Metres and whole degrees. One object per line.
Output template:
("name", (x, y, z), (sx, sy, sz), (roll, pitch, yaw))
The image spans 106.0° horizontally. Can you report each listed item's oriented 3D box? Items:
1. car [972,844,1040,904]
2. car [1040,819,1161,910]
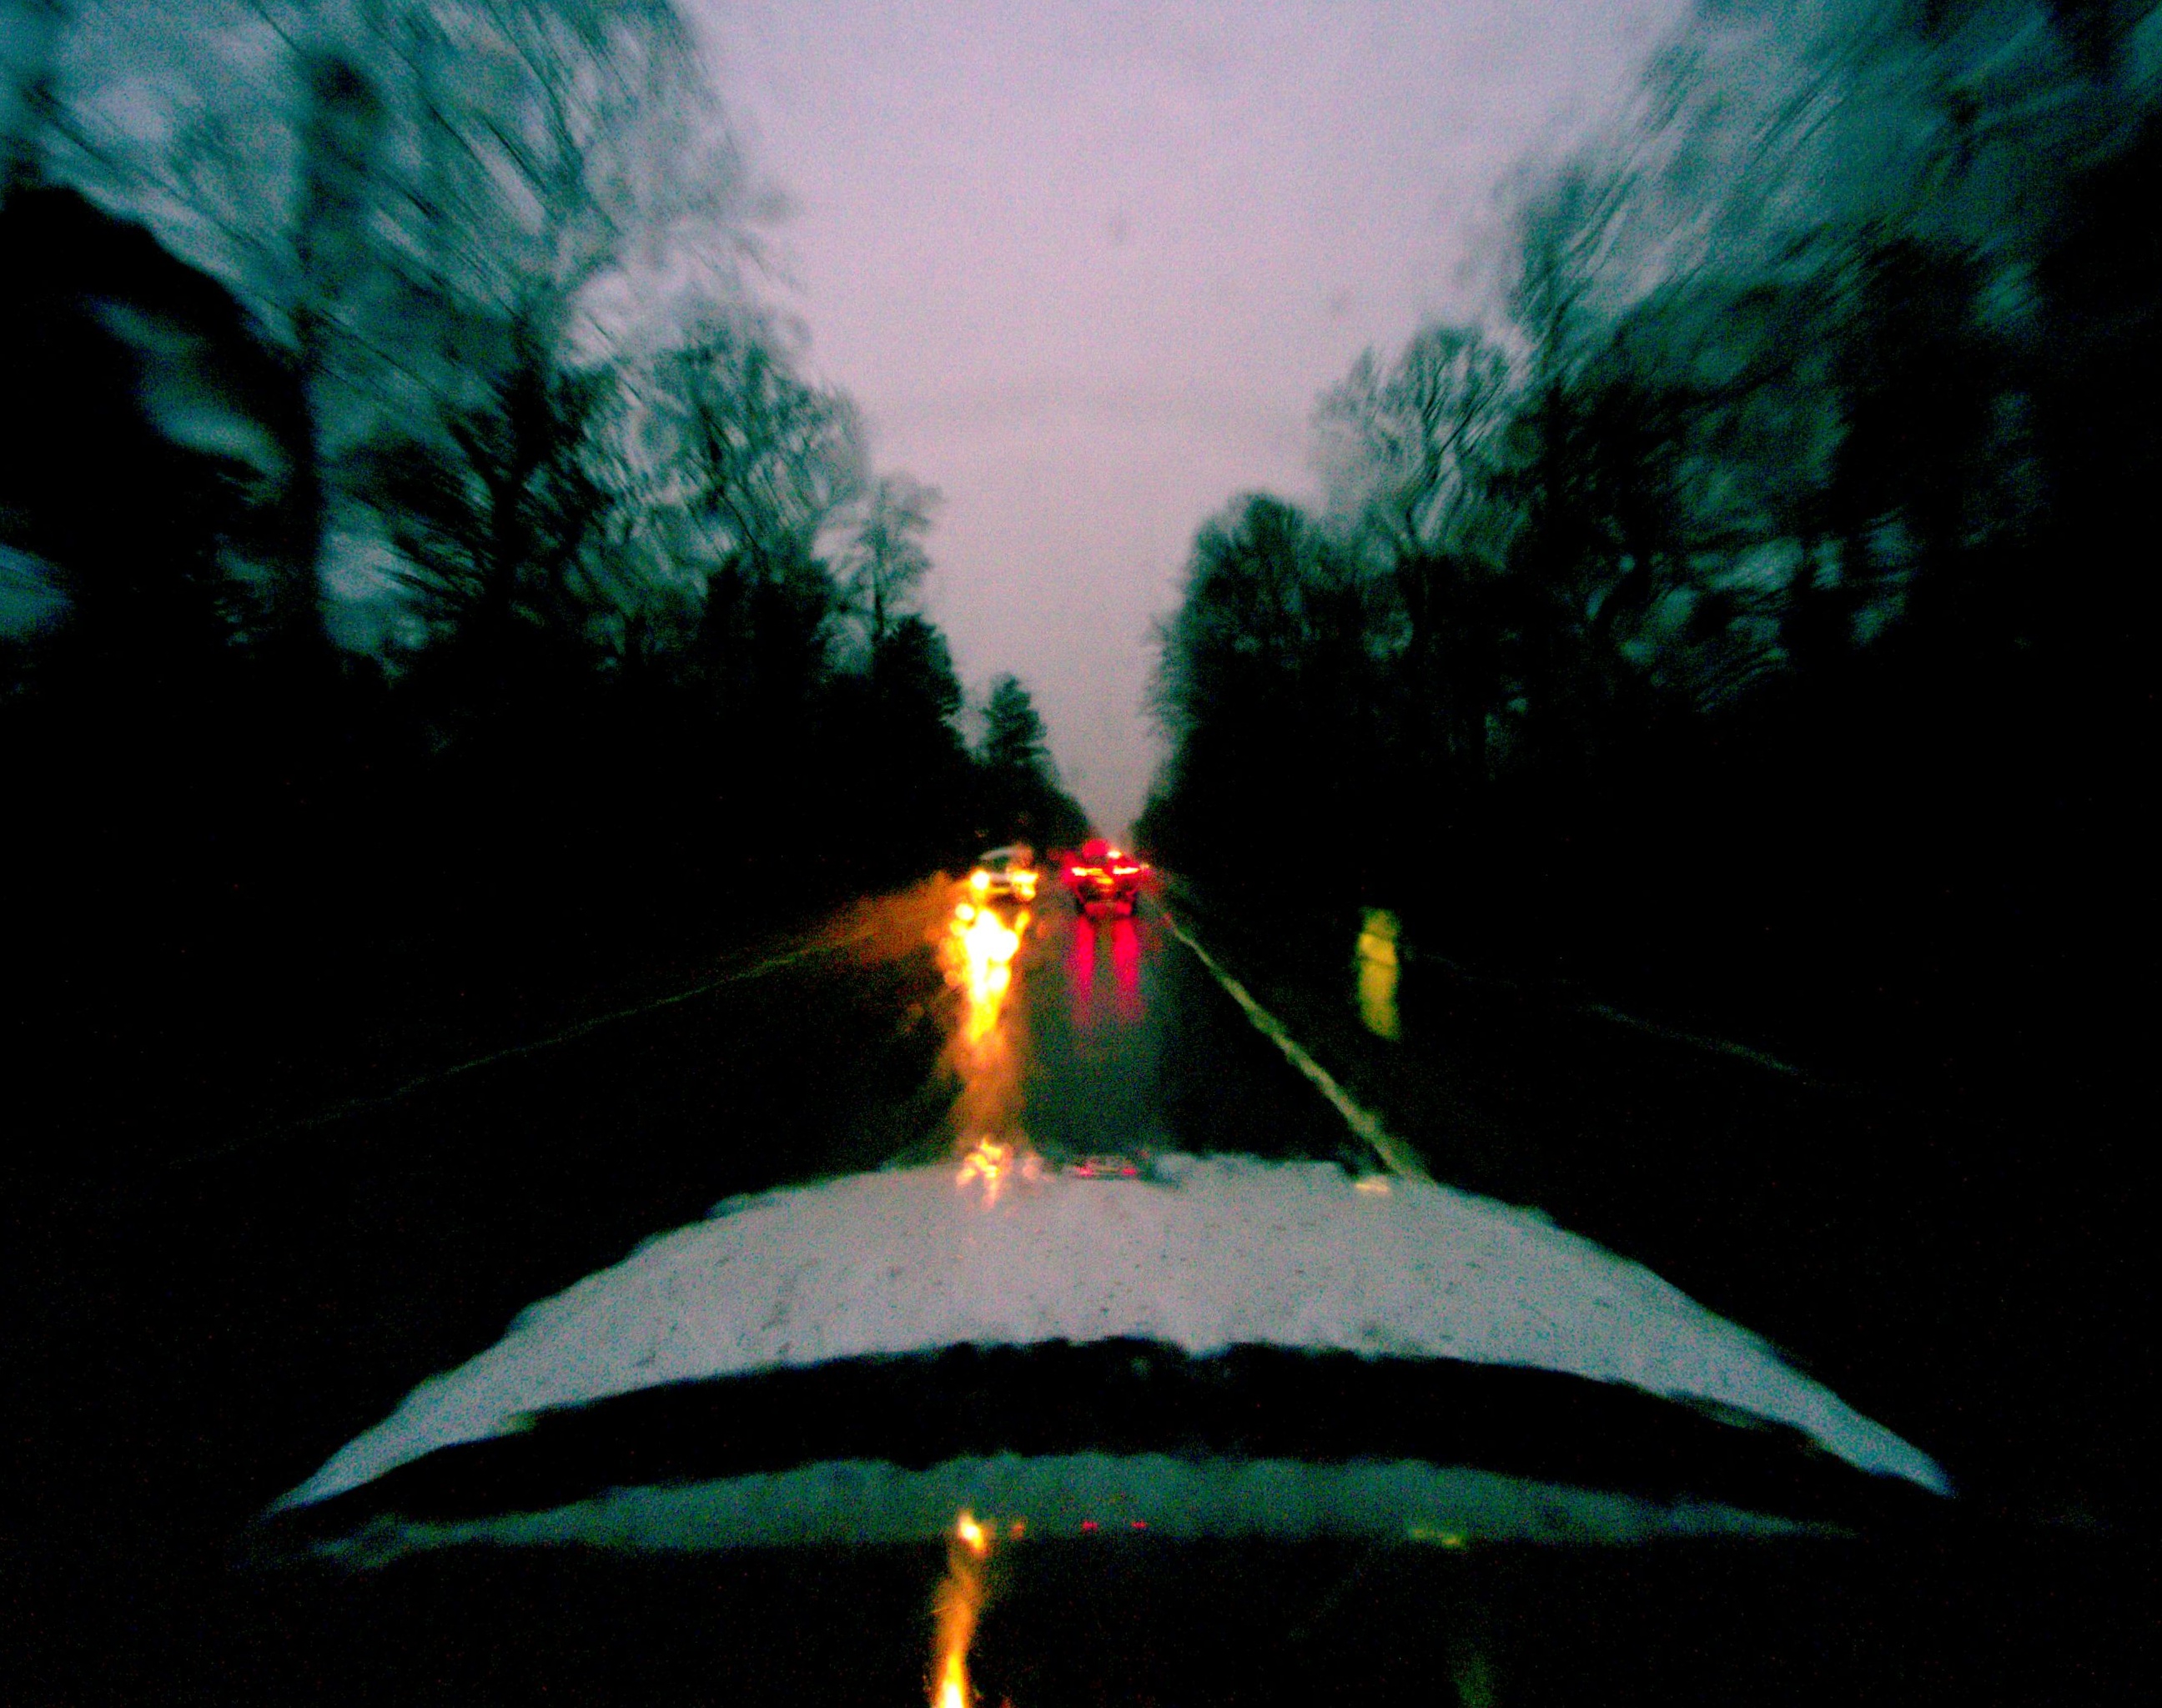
("car", (-2.576, 0.678, 28.989), (1.790, 1.881, 4.427), (-3, 0, 2))
("car", (0.661, 0.281, 24.953), (3.171, 2.386, 6.640), (-1, 0, 2))
